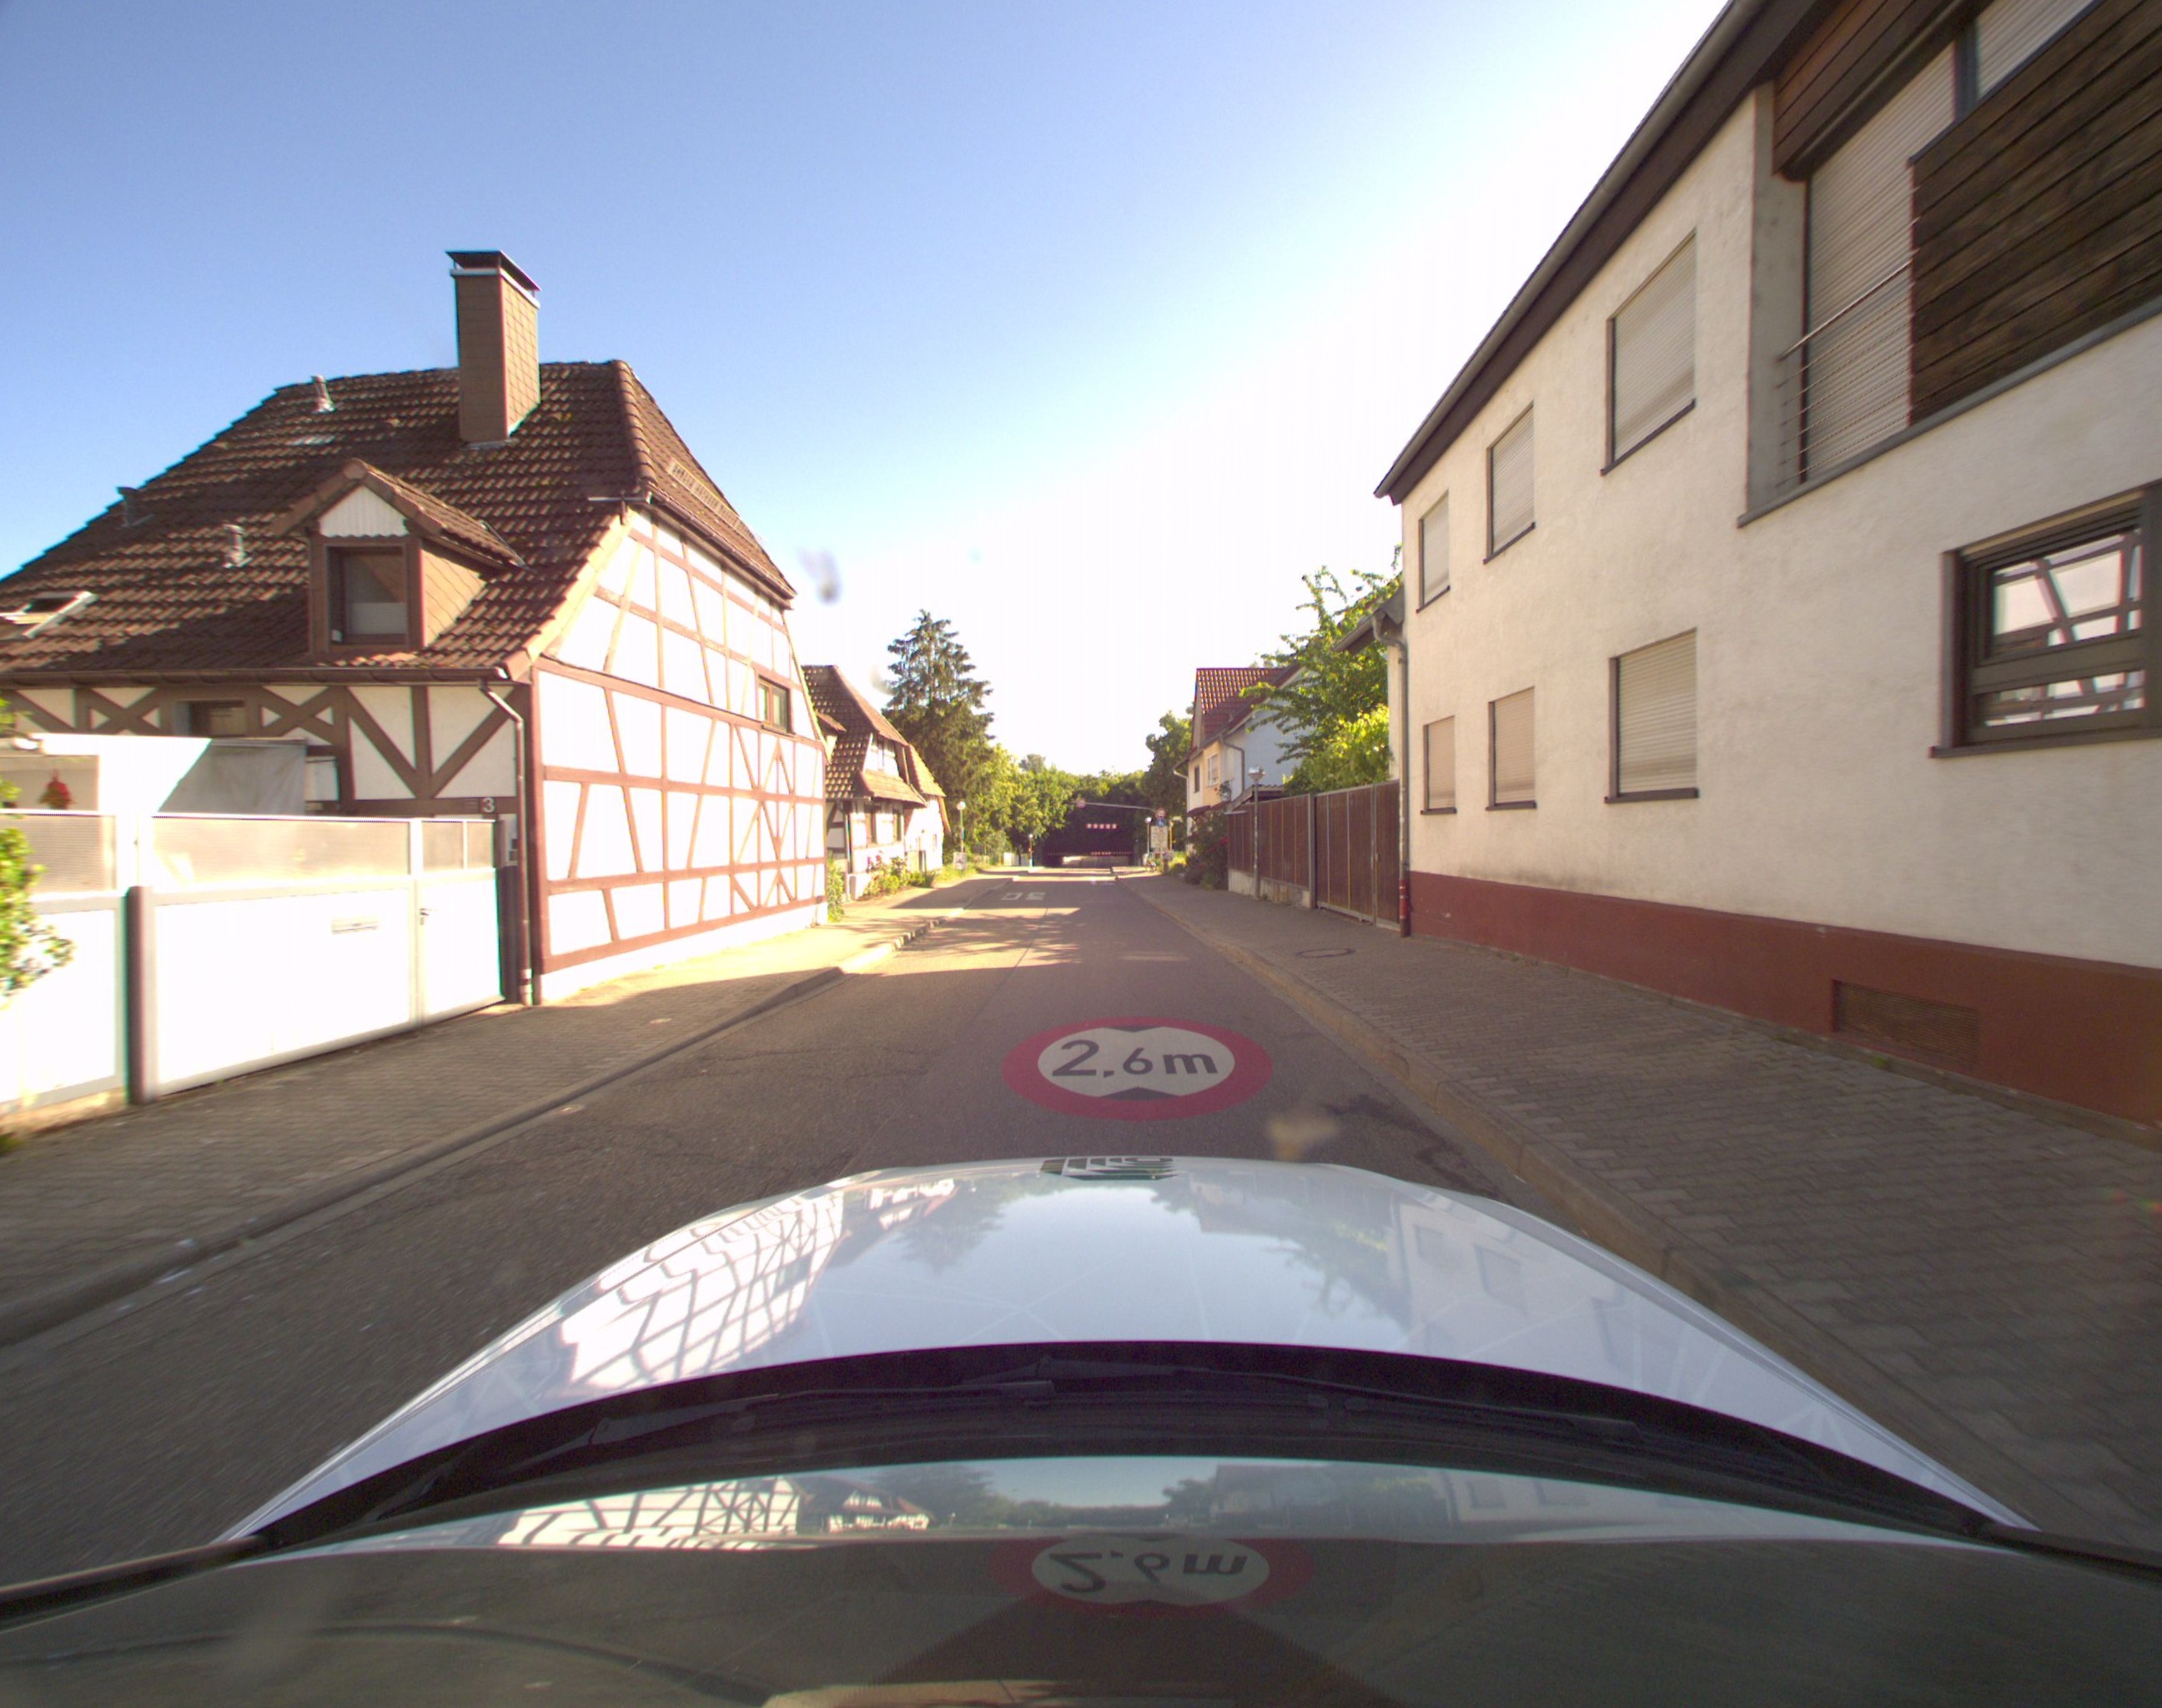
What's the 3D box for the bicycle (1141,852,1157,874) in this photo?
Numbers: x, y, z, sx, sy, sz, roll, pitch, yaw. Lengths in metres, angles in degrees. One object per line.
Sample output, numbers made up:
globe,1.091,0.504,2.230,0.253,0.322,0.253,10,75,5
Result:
bicycle,4.055,0.539,48.469,0.686,1.157,1.539,-6,1,0
